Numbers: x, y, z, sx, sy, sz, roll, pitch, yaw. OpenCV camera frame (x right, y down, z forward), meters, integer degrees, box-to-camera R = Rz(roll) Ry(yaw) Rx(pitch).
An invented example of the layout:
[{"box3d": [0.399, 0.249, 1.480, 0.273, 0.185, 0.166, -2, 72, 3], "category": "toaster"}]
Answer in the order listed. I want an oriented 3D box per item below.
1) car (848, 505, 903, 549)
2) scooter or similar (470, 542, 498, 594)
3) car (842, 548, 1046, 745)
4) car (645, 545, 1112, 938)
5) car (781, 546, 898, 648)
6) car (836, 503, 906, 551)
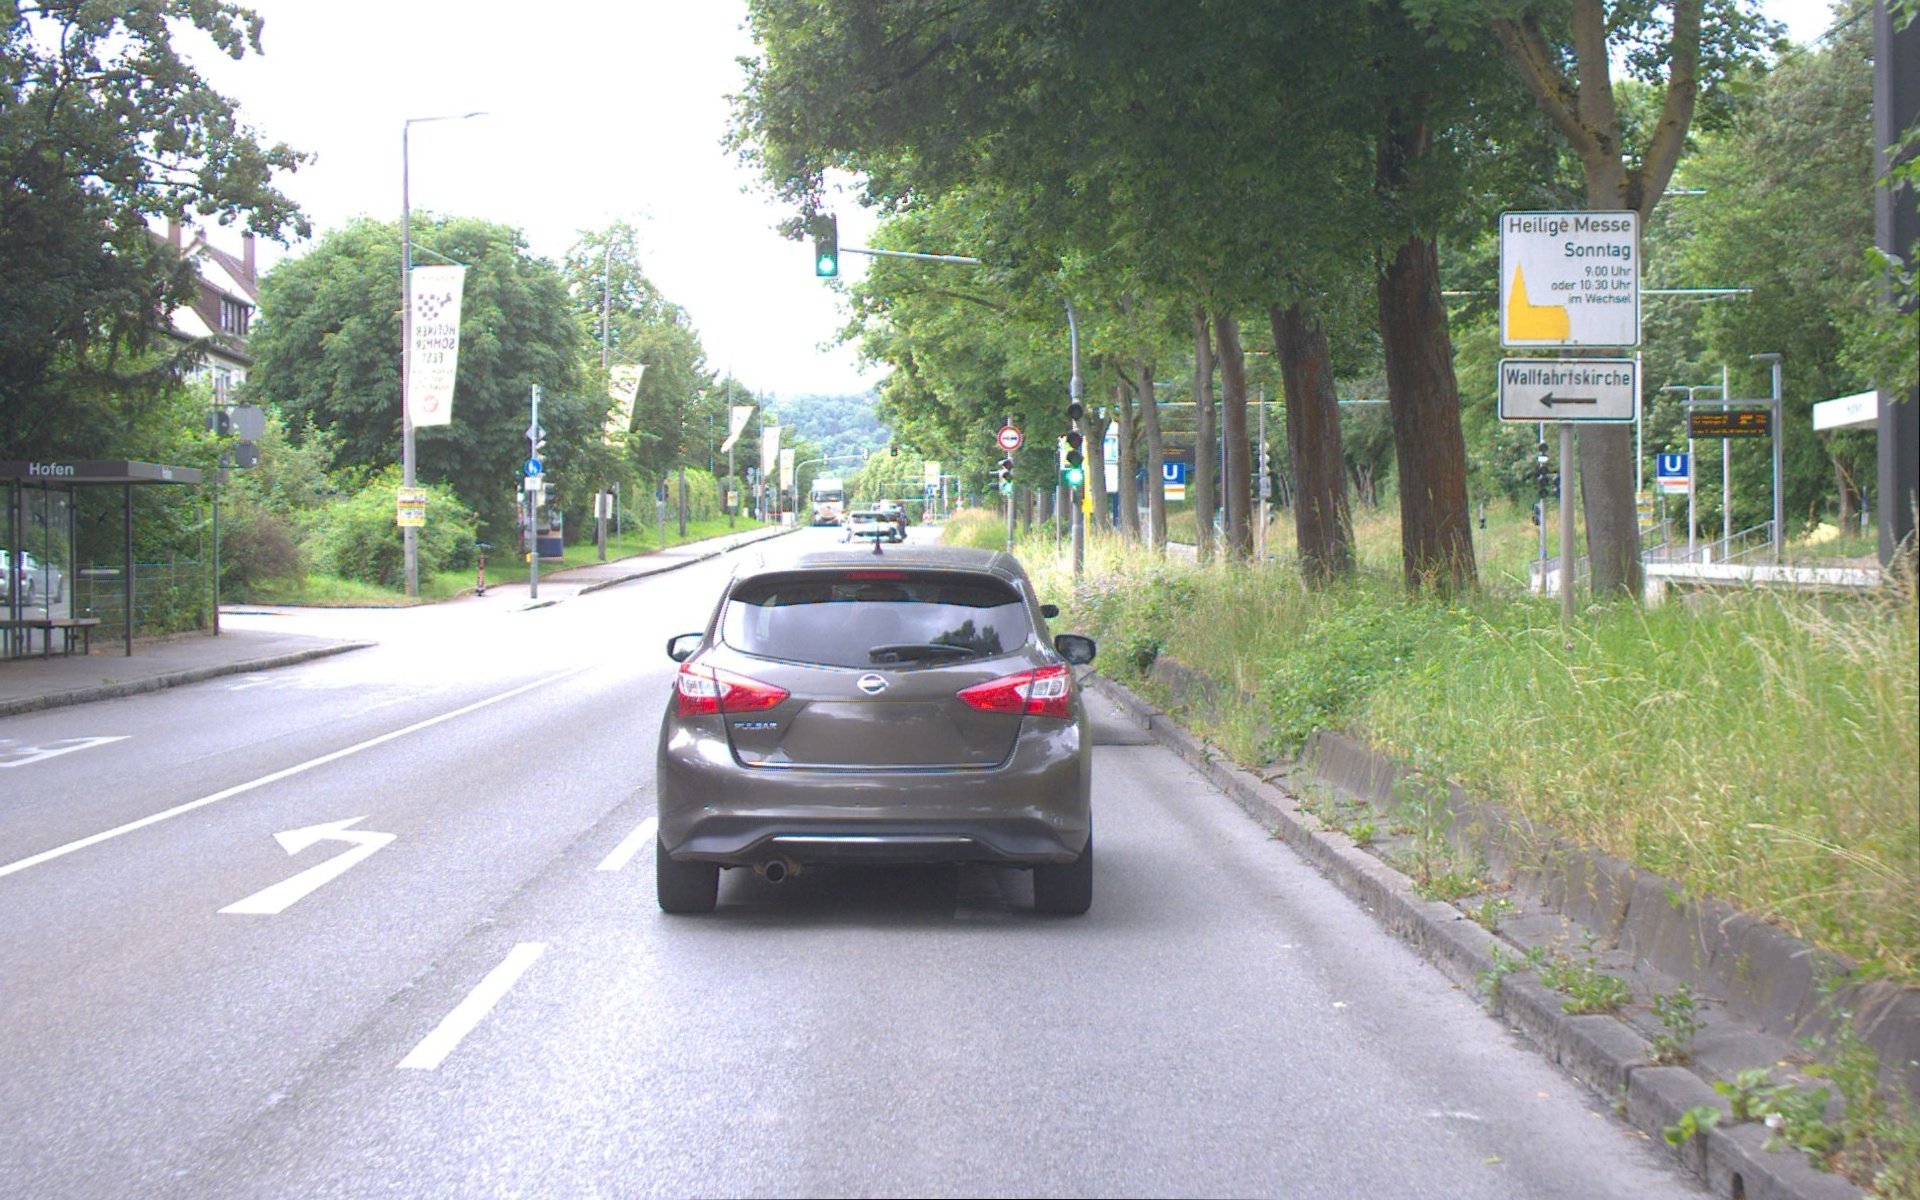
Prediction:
[{"box3d": [-3.192, -2.758, 130.337, 1.993, 1.568, 4.000, 2, 0, -1], "category": "car"}, {"box3d": [-11.622, -0.777, 83.935, 0.462, 1.254, 1.426, 0, 1, 0], "category": "scooter or similar"}, {"box3d": [-0.150, 0.318, 27.223, 1.502, 1.436, 3.542, 0, 1, -1], "category": "car"}, {"box3d": [-0.325, 0.513, 14.986, 1.783, 1.501, 3.696, 0, 1, 0], "category": "car"}, {"box3d": [-1.771, -0.068, 51.433, 1.691, 1.436, 3.542, 0, 1, -1], "category": "car"}, {"box3d": [-2.603, -2.134, 101.435, 1.993, 1.316, 4.000, 2, 0, -1], "category": "car"}]
